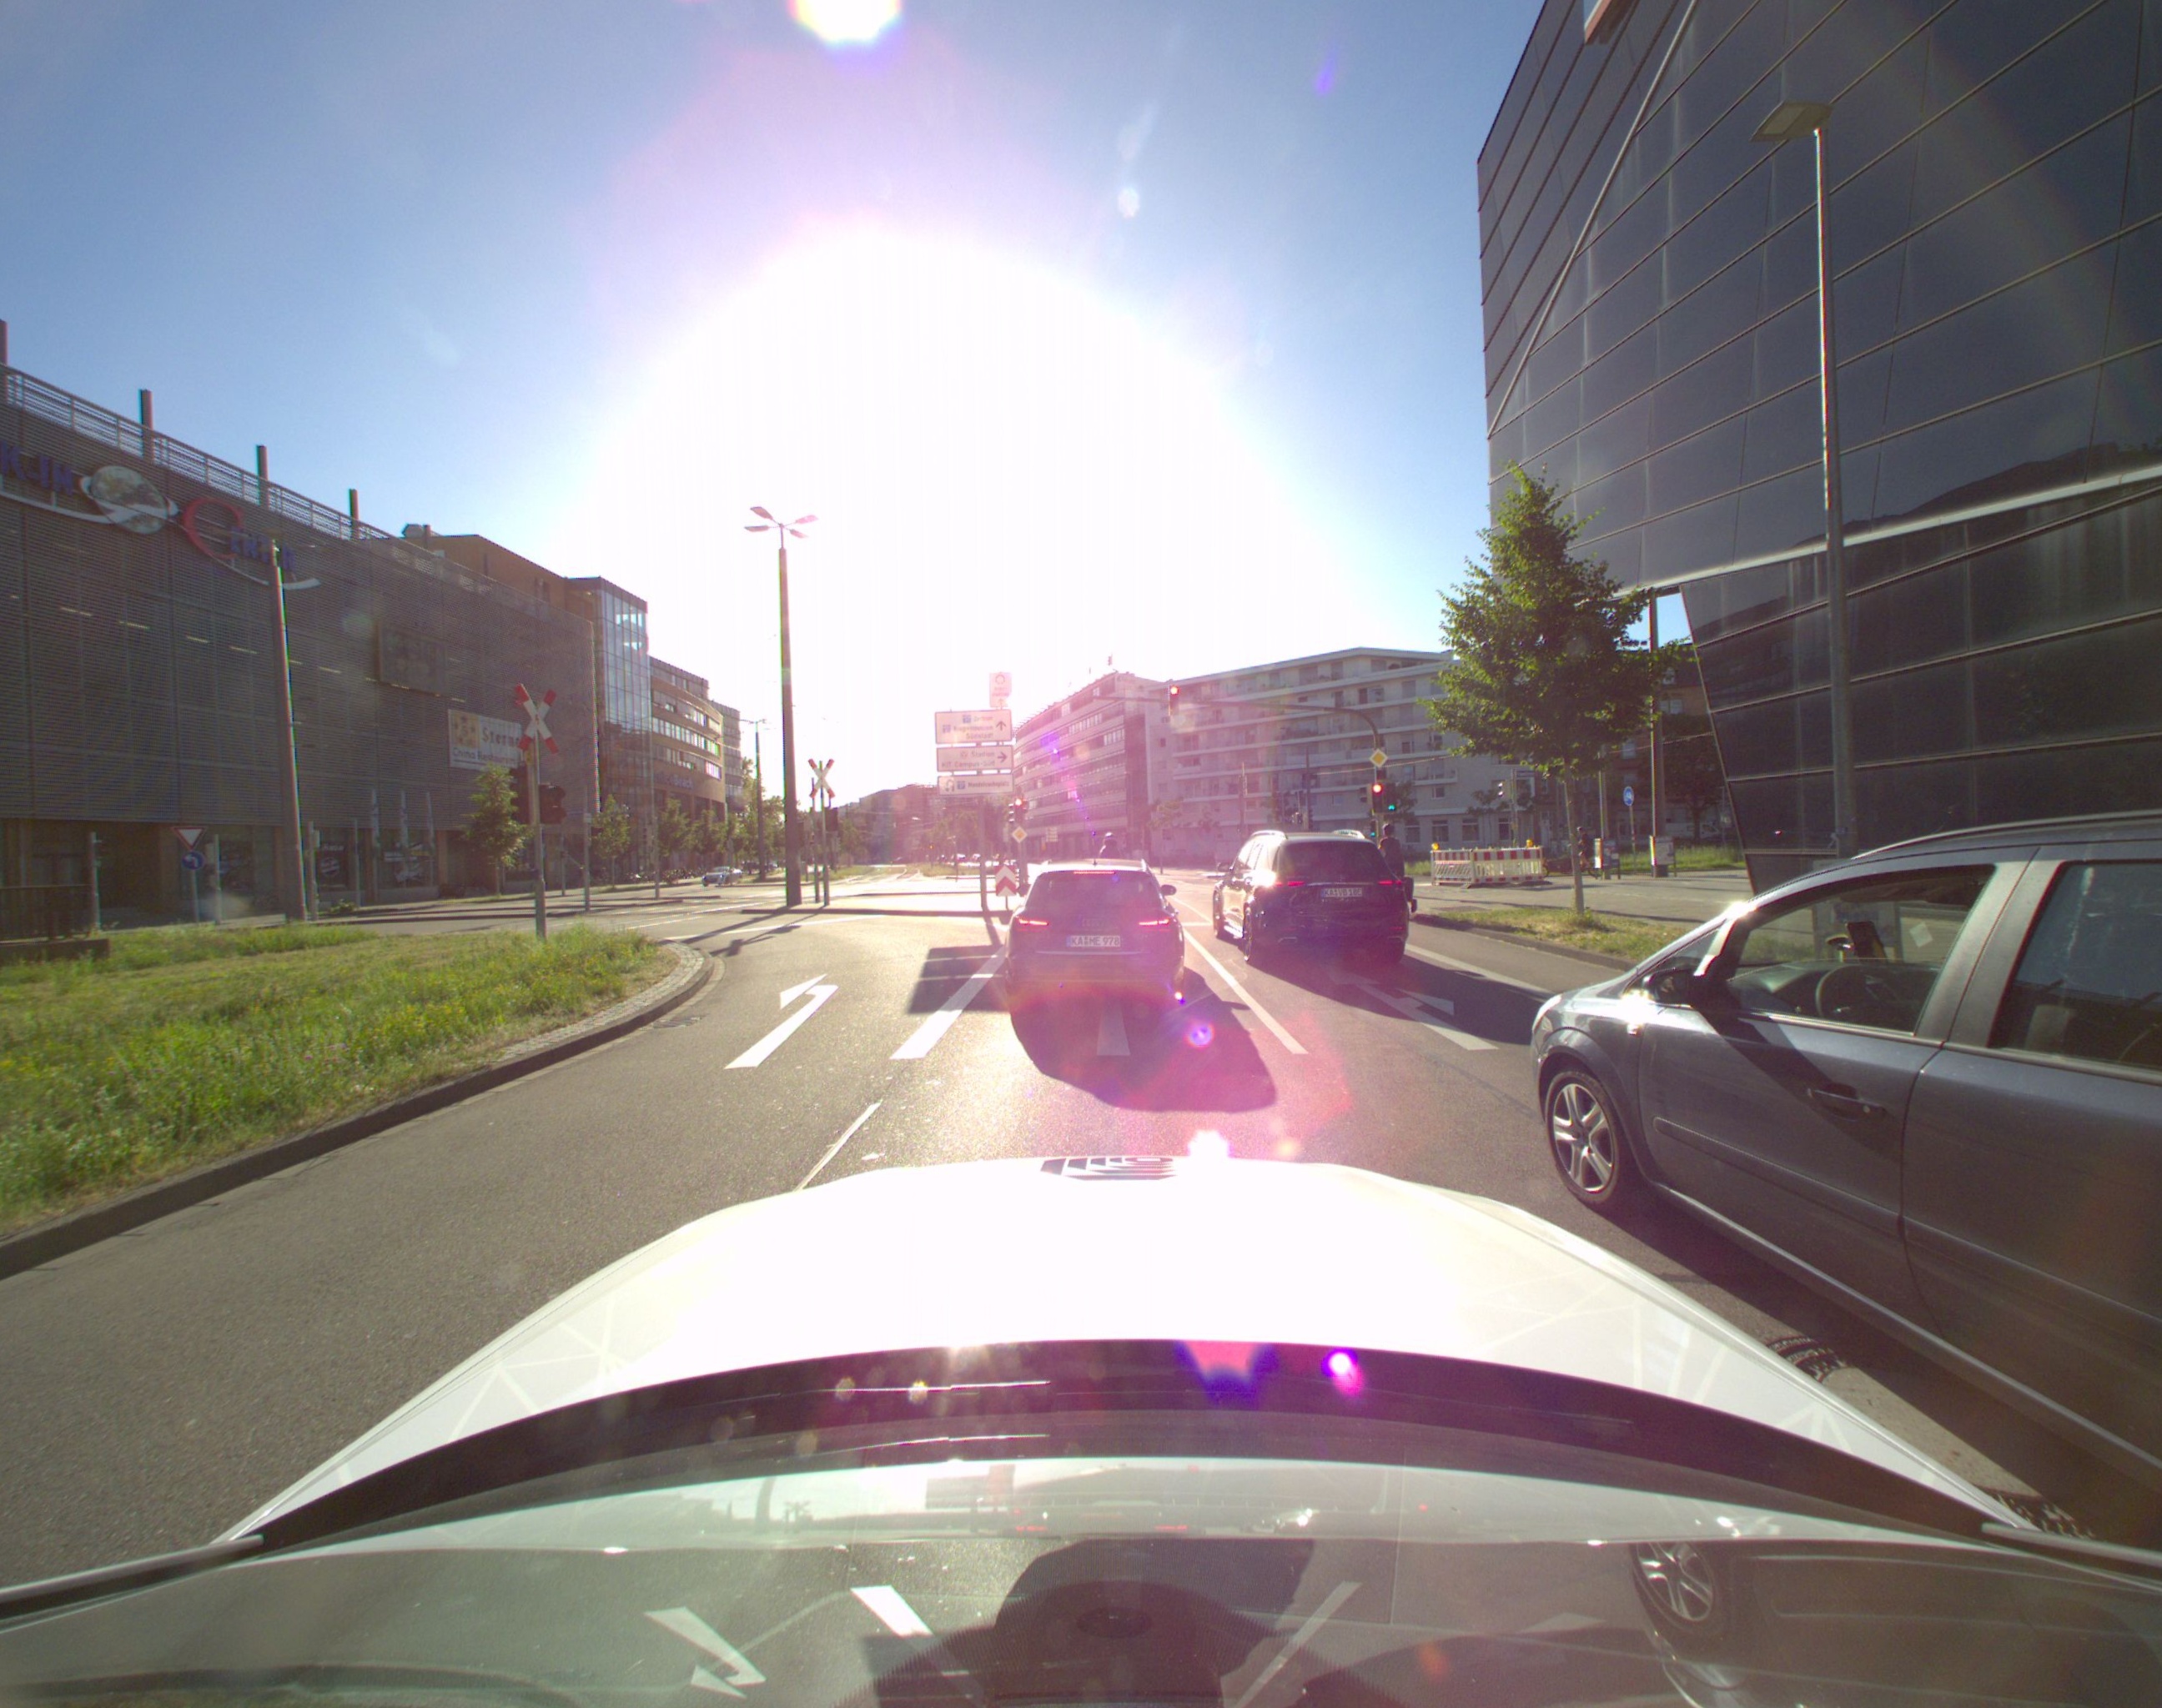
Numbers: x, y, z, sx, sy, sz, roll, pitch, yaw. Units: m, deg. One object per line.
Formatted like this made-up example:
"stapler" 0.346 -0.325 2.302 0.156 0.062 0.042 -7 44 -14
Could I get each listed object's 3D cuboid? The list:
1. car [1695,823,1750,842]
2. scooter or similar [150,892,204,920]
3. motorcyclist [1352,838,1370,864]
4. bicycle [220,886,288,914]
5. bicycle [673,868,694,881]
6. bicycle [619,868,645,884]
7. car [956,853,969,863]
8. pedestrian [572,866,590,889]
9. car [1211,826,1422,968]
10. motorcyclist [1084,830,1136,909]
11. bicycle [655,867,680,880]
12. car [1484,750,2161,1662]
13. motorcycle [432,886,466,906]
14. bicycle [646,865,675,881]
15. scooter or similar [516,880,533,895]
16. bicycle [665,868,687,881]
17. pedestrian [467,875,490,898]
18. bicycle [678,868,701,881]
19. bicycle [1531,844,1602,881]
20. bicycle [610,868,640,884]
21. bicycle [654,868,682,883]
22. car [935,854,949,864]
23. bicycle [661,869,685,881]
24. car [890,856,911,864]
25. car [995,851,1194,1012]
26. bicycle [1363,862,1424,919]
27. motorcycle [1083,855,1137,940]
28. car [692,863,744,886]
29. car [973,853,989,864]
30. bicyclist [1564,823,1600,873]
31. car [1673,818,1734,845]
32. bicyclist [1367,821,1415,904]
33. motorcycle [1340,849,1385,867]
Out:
"car" 54.314 -1.793 69.048 1.981 1.354 4.012 -3 0 11
"scooter or similar" -43.636 2.509 39.341 0.790 1.207 1.575 -3 -1 2
"motorcyclist" 16.661 -0.162 48.394 0.917 1.481 1.178 -2 0 21
"bicycle" -41.748 2.291 41.169 0.796 1.220 2.418 -2 0 5
"bicycle" -47.308 2.395 96.982 2.125 1.433 0.761 -3 -1 10
"bicycle" -43.552 2.098 78.990 2.070 1.433 0.863 -3 -1 10
"car" -20.639 0.767 141.754 1.996 1.596 3.981 -3 -1 -13
"pedestrian" -42.218 1.986 68.738 0.823 1.824 0.905 -3 -1 3
"car" 3.209 0.496 12.090 1.995 1.715 4.374 0 1 2
"motorcyclist" 0.520 0.269 14.457 0.859 1.326 0.681 -2 0 1
"bicycle" -47.030 2.207 92.658 2.591 1.433 0.773 -3 -1 10
"car" 2.901 0.654 2.108 1.739 1.696 4.262 0 0 2
"motorcycle" -41.676 2.748 53.754 0.673 1.238 1.894 -3 -1 1
"bicycle" -43.339 1.959 83.882 2.546 1.433 0.907 -3 -1 10
"scooter or similar" -42.835 2.608 62.734 0.419 1.110 1.153 -3 -1 2
"bicycle" -47.257 2.424 94.940 2.231 1.433 0.720 -3 -1 10
"pedestrian" -44.155 2.369 59.711 0.984 1.566 0.829 -3 -1 1
"bicycle" -47.140 2.458 98.153 2.405 1.433 0.791 -3 -1 10
"bicycle" 17.441 0.308 29.262 2.055 1.262 0.773 -2 0 40
"bicycle" -43.715 2.113 78.102 2.355 1.433 1.079 -3 -1 10
"bicycle" -43.664 2.230 86.139 2.546 1.433 0.907 -3 -1 10
"car" -25.173 0.891 147.024 1.998 1.706 3.977 -3 -1 -16
"bicycle" -47.137 2.448 94.087 2.399 1.236 0.747 -3 -1 10
"car" -41.350 1.388 186.351 4.420 1.640 1.983 -2 0 -26
"car" 0.174 0.707 9.536 1.835 1.454 4.001 0 1 1
"bicycle" 6.465 0.731 16.962 0.651 1.043 1.932 -2 1 5
"motorcycle" 0.521 0.735 14.647 0.859 1.393 1.894 -2 0 2
"car" -27.783 1.560 62.480 1.988 1.545 4.527 -2 0 -2
"car" -17.122 0.794 139.366 1.998 1.596 3.977 -3 -1 -16
"bicyclist" 17.801 -0.213 28.939 0.918 1.706 0.773 -2 0 40
"car" 59.010 -2.108 77.307 4.543 2.310 2.013 -2 0 36
"bicyclist" 6.451 0.167 16.960 0.651 1.642 0.973 -2 0 5
"motorcycle" 16.723 0.231 48.395 2.431 1.000 1.178 -2 0 21
